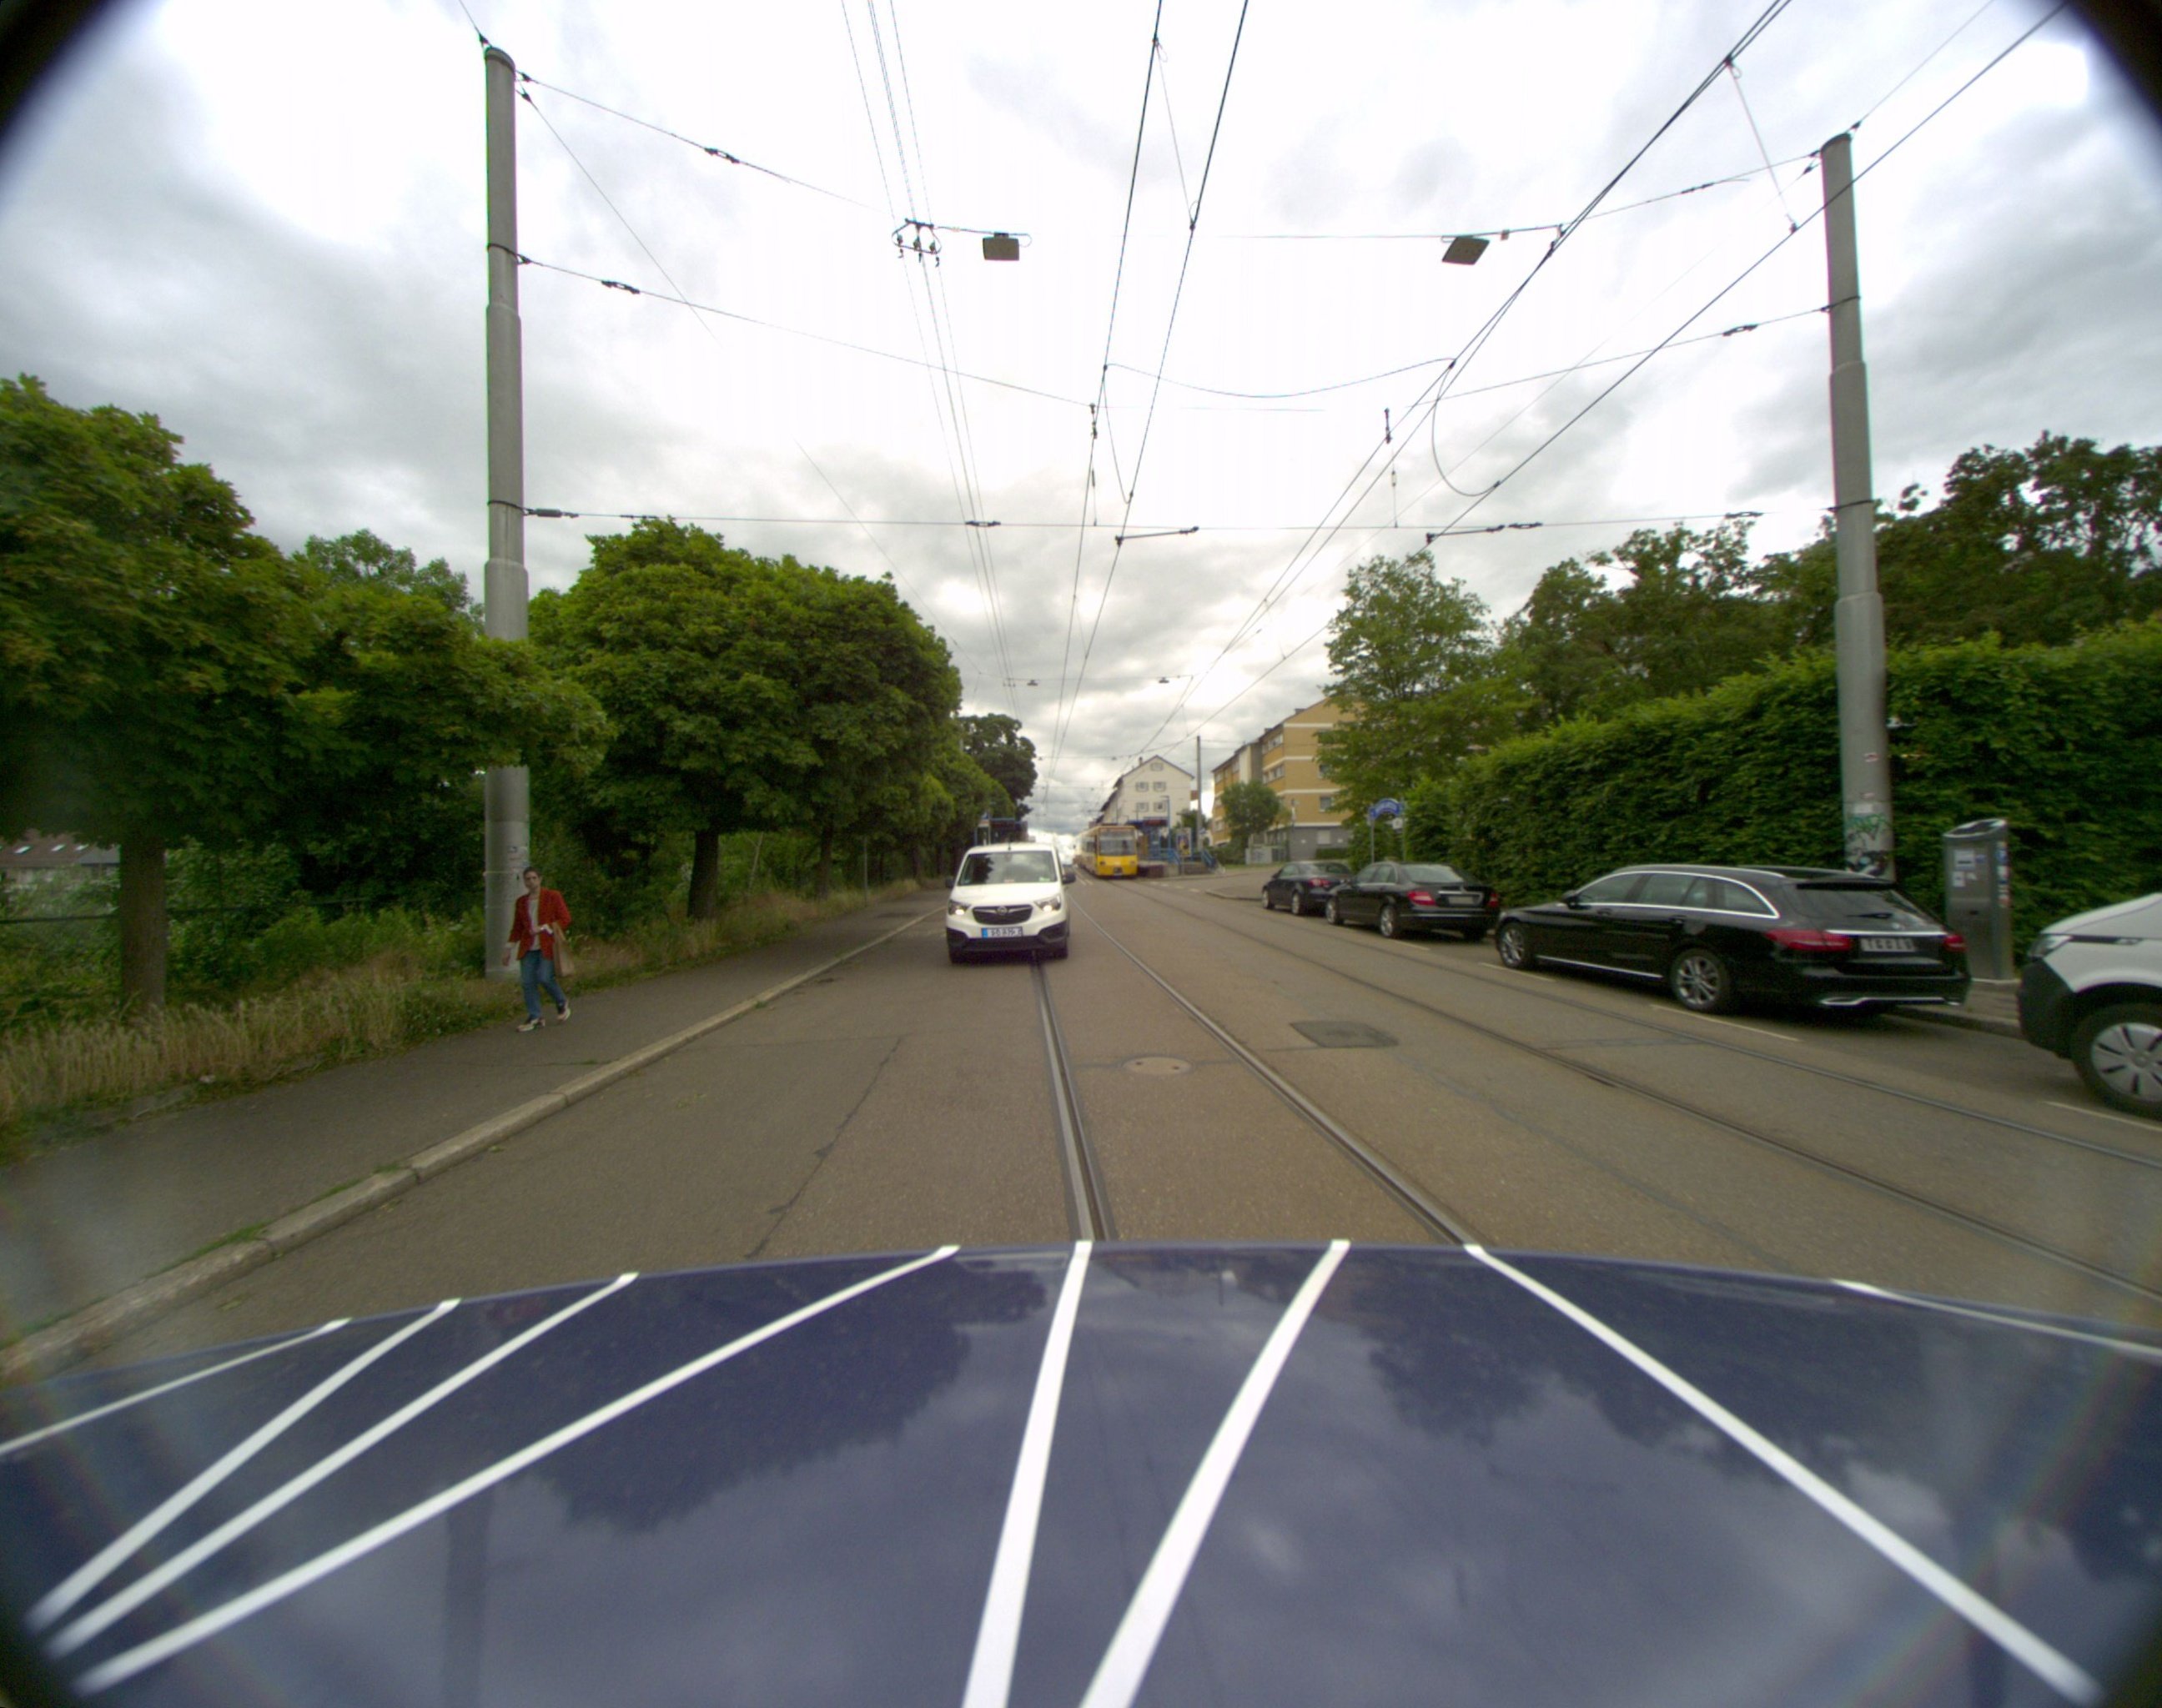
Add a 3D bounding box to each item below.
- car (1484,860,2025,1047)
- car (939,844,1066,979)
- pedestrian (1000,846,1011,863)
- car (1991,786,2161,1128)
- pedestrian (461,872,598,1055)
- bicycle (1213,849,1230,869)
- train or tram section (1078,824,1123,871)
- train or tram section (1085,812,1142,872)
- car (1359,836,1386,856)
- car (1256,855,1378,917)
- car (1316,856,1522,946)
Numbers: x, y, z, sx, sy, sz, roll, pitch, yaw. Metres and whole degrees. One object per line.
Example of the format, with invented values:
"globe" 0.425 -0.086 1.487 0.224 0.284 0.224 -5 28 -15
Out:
"car" 6.716 0.829 8.465 1.845 1.379 4.515 -1 1 -3
"car" -1.138 0.795 12.871 1.730 1.850 4.419 -1 0 -1
"pedestrian" -5.794 0.032 58.392 0.781 1.307 0.656 -1 1 -2
"car" 7.088 0.598 2.655 1.974 1.902 4.732 -1 1 -3
"pedestrian" -5.178 0.993 7.185 0.717 1.611 0.718 -1 1 -2
"bicycle" 8.391 0.304 45.495 0.713 1.174 1.487 -1 1 -2
"train or tram section" 1.517 -0.565 64.915 2.831 3.615 12.125 -1 1 -3
"train or tram section" 2.045 -0.778 52.786 2.857 3.615 12.125 -1 1 -2
"car" 22.777 -0.641 59.313 1.838 1.455 4.006 -1 1 23
"car" 6.181 0.775 20.452 1.795 1.396 4.159 -1 1 -3
"car" 6.337 0.788 14.904 1.845 1.379 4.438 -1 1 -3
